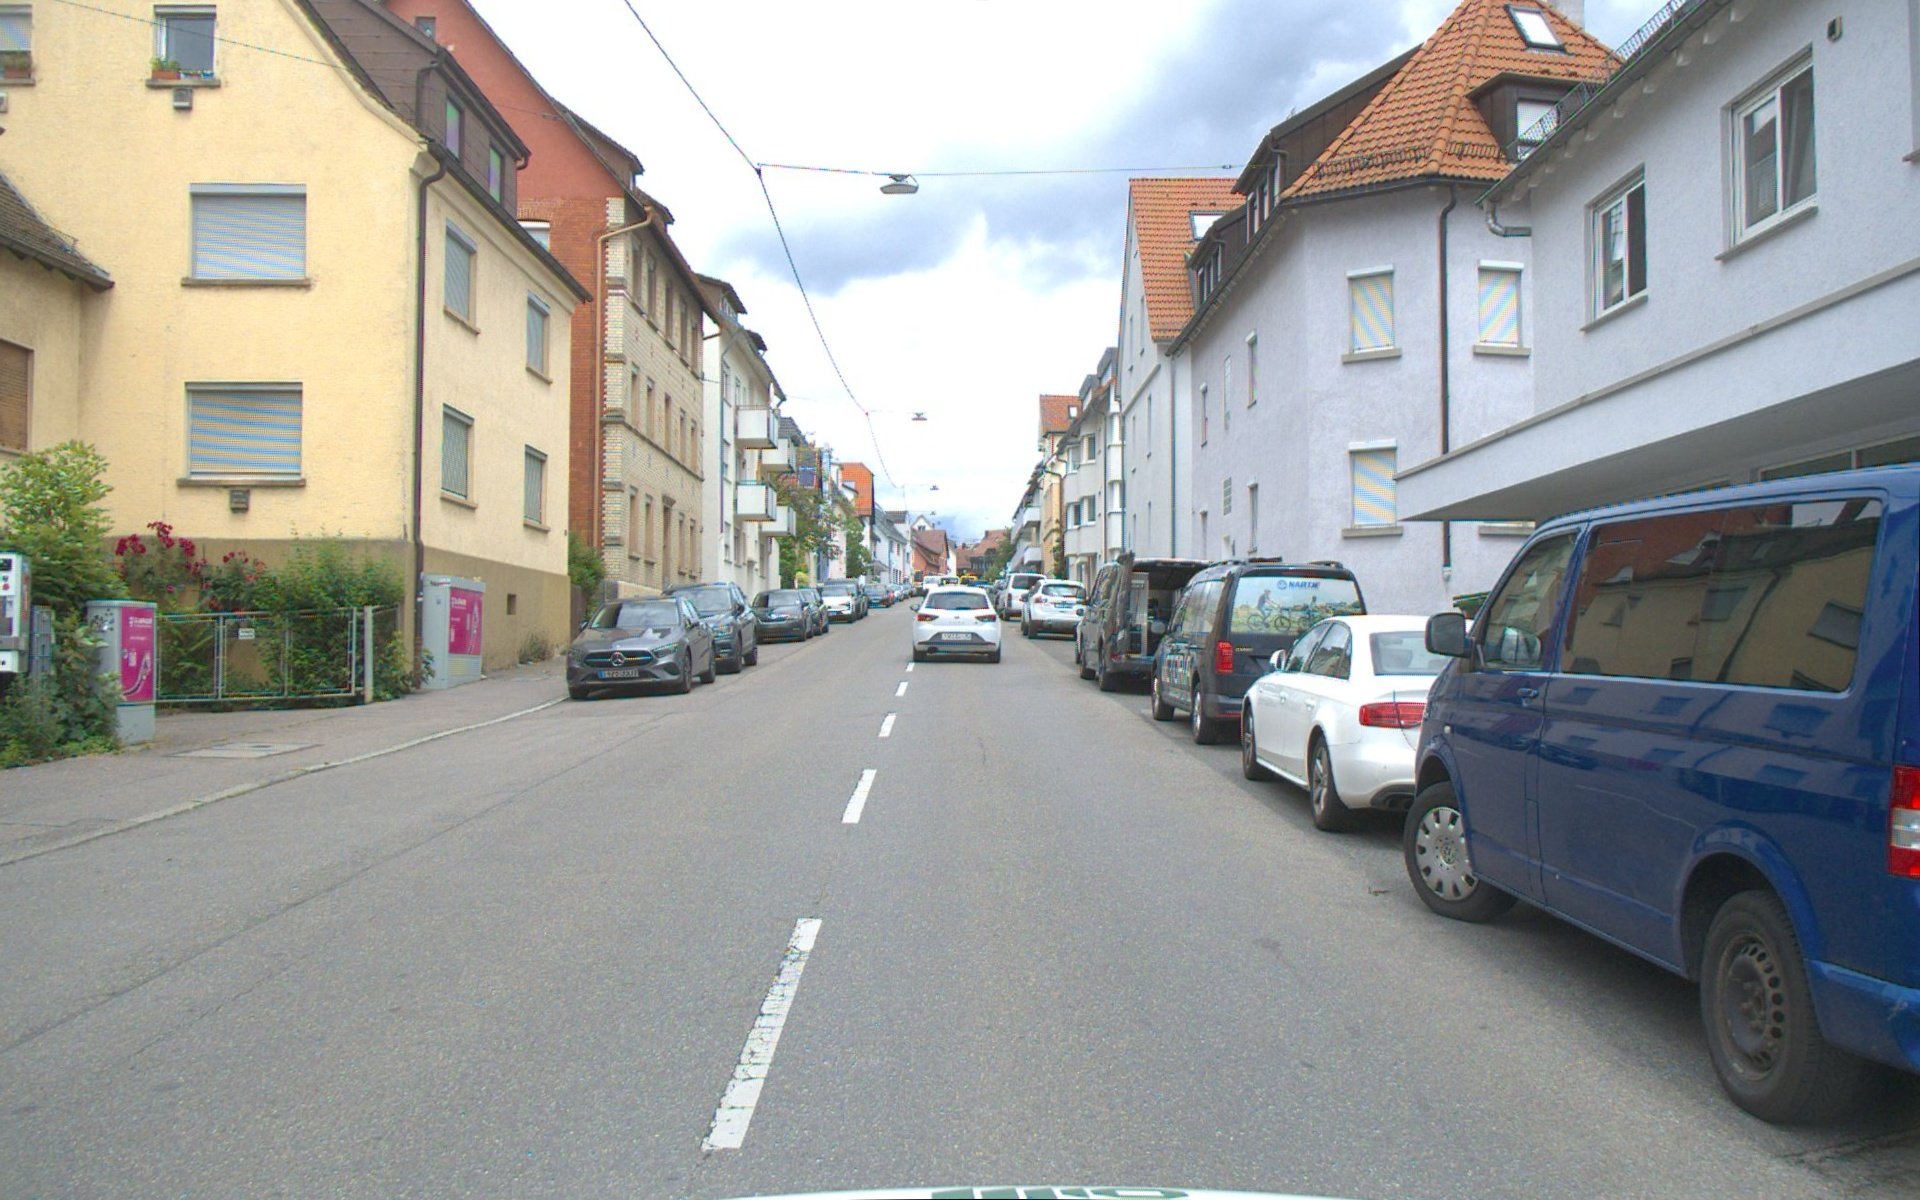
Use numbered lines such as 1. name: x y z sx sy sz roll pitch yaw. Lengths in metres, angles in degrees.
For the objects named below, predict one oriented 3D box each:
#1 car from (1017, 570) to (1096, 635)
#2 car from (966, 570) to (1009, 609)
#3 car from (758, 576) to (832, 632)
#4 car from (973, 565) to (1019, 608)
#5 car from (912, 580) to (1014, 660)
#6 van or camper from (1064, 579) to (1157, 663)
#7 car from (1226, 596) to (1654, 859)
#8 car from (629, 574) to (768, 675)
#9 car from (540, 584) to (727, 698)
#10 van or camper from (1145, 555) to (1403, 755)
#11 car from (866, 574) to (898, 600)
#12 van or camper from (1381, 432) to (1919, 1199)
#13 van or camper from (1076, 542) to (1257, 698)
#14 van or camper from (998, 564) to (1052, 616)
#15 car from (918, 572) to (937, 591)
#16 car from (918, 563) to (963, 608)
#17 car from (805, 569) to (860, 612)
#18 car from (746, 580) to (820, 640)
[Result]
1. car: 2.769 0.032 48.283 1.901 1.722 3.999 3 1 -2
2. car: 1.418 -0.569 87.295 1.954 2.049 3.998 0 1 -3
3. car: -5.098 0.086 51.606 1.953 1.679 4.000 0 1 -1
4. car: 1.751 -0.692 80.978 1.954 2.049 3.998 0 1 -3
5. car: 0.029 0.350 33.187 1.901 1.464 4.000 1 1 -1
6. van or camper: 3.094 0.384 34.673 1.569 1.570 4.001 2 1 0
7. car: 3.226 0.754 12.144 1.679 1.461 4.638 2 1 -1
8. car: -4.869 0.393 31.405 1.953 1.679 4.553 -3 1 -1
9. car: -4.952 0.563 25.680 1.953 1.498 4.244 -3 1 1
10. van or camper: 3.298 0.498 18.334 1.833 1.860 4.679 2 1 -1
11. car: -5.242 -0.886 111.176 1.953 1.679 4.179 0 1 -1
12. van or camper: 3.266 0.541 6.474 1.887 1.959 4.830 1 1 -1
13. van or camper: 3.069 0.230 25.842 1.953 2.101 5.944 2 1 -1
14. van or camper: 2.731 -0.441 70.380 1.902 2.090 4.561 1 1 -3
15. car: -3.585 -2.026 182.311 1.953 2.049 4.000 0 1 0
16. car: -0.967 -0.715 79.720 2.109 2.049 3.999 1 1 -2
17. car: -5.167 -0.418 67.462 1.953 1.679 4.000 0 1 -1
18. car: -4.964 0.245 46.762 1.608 1.499 4.179 -3 1 0
